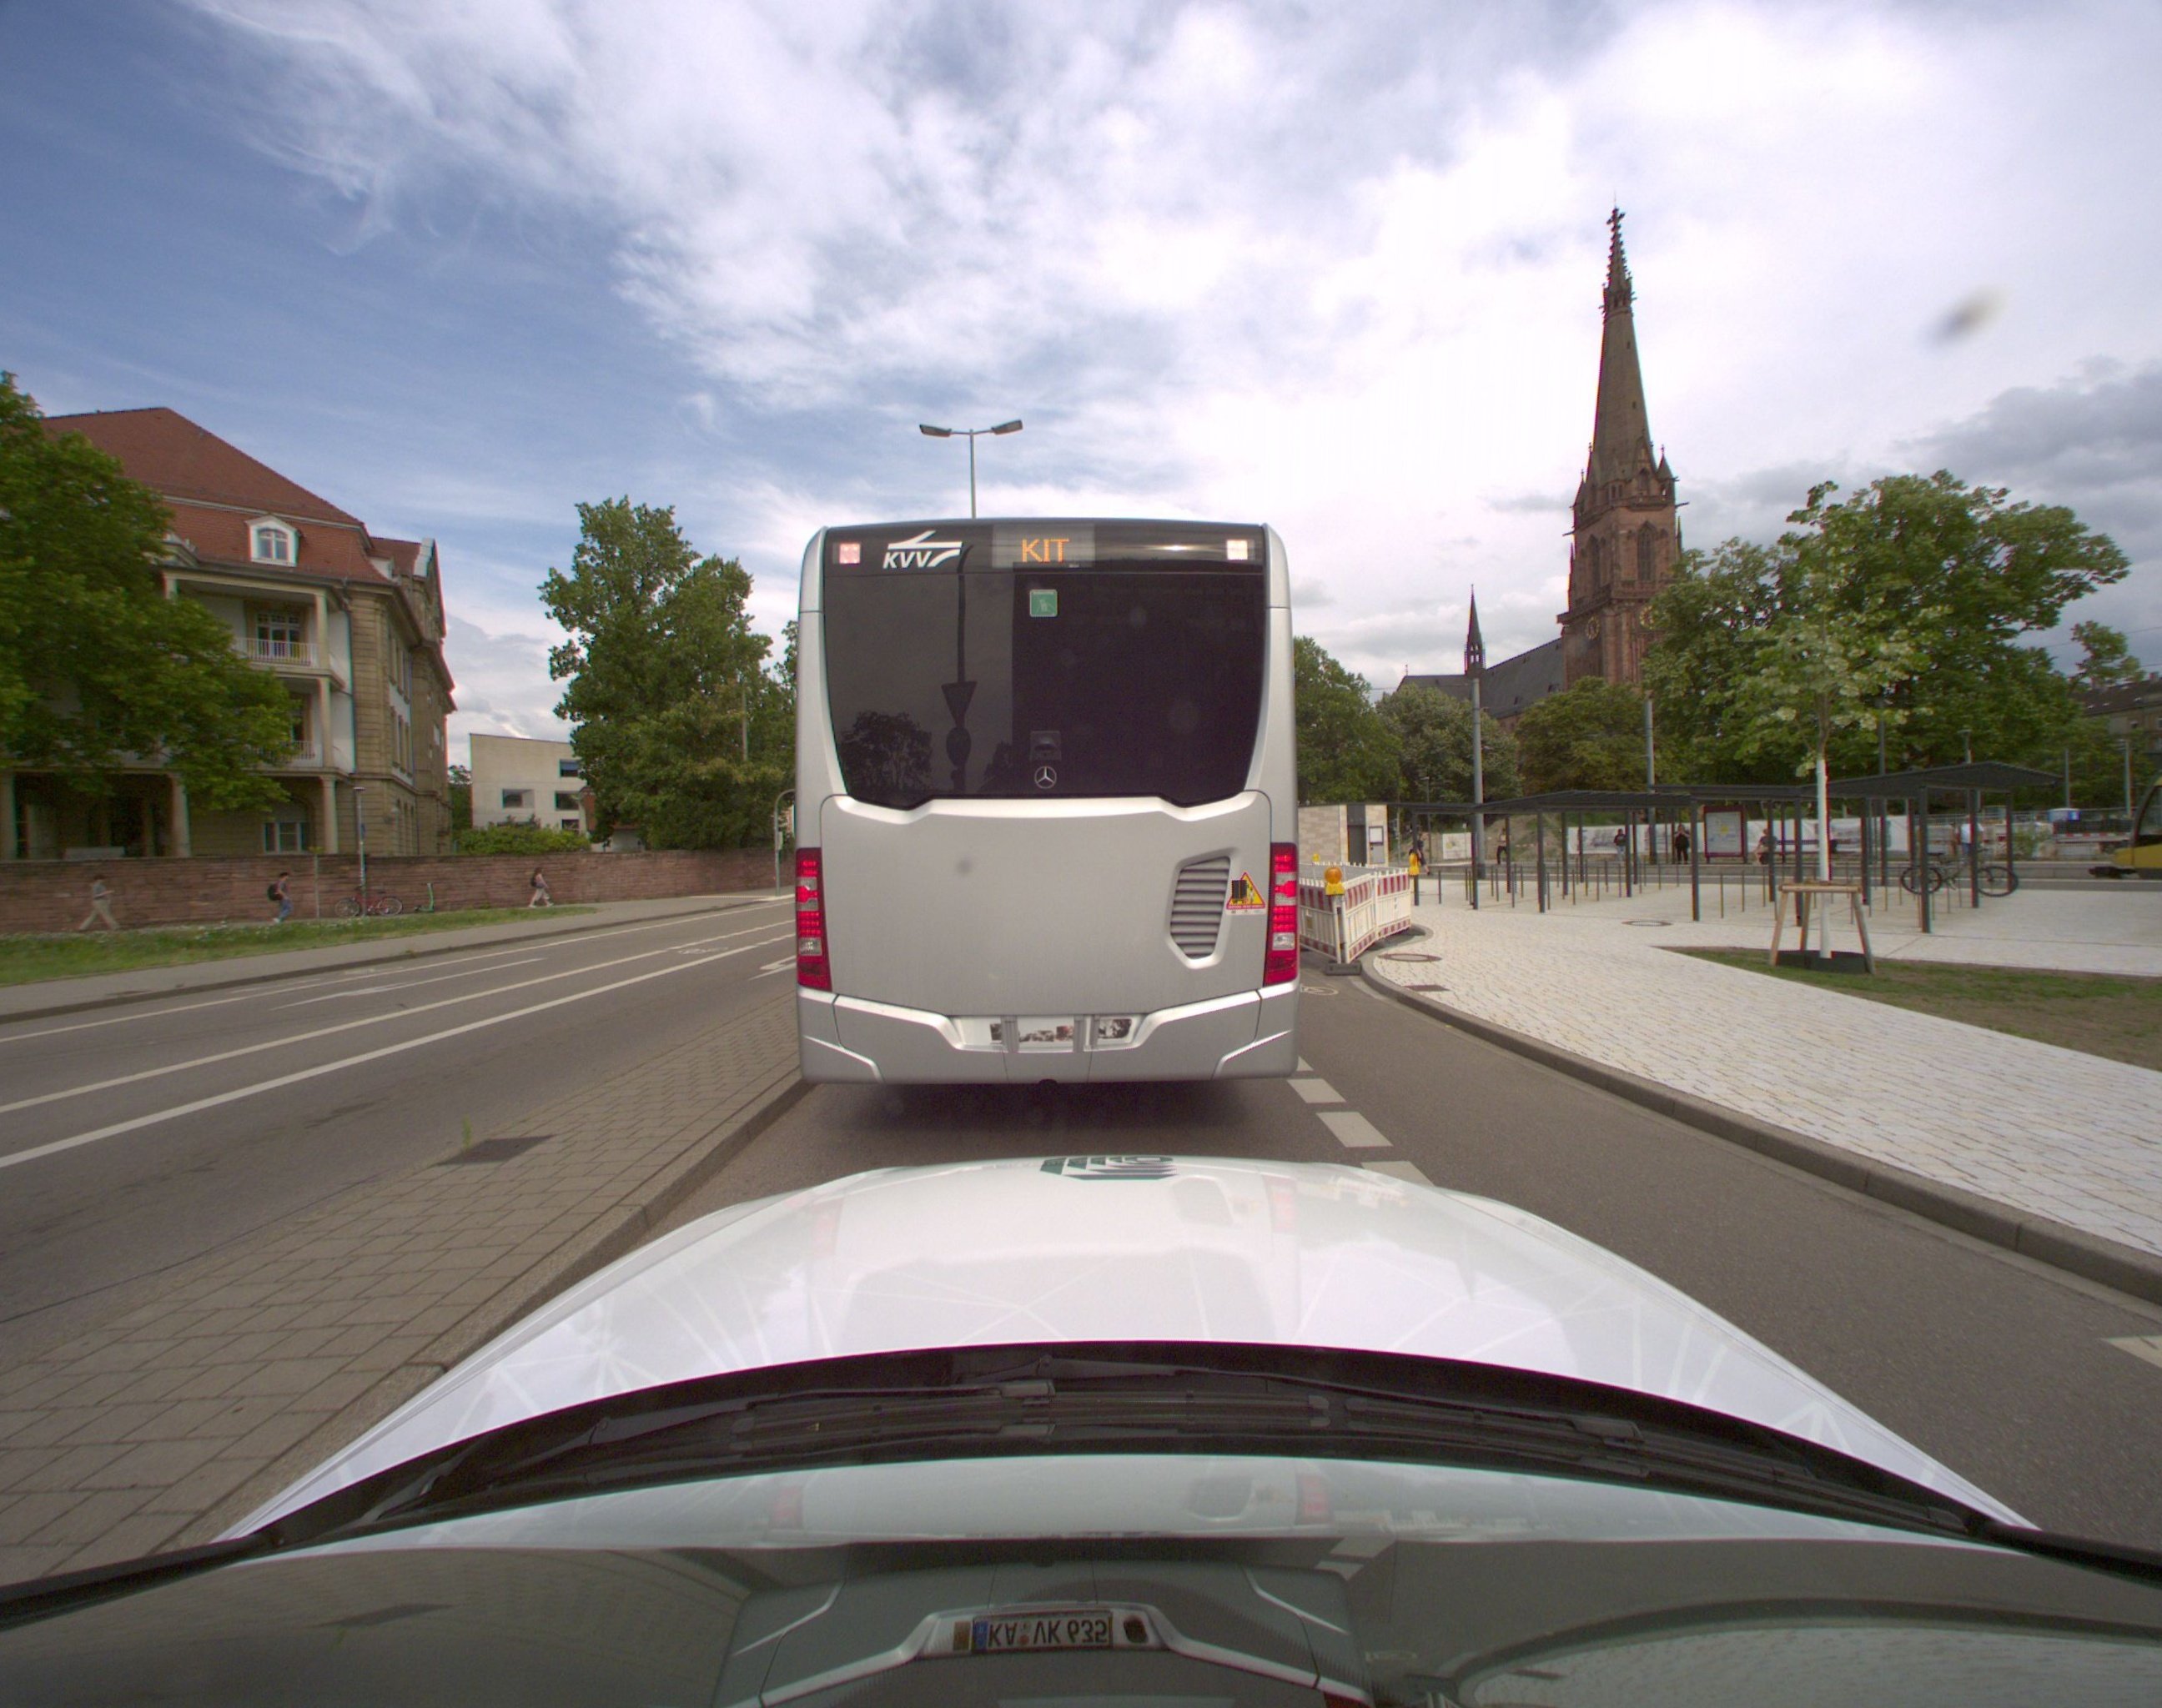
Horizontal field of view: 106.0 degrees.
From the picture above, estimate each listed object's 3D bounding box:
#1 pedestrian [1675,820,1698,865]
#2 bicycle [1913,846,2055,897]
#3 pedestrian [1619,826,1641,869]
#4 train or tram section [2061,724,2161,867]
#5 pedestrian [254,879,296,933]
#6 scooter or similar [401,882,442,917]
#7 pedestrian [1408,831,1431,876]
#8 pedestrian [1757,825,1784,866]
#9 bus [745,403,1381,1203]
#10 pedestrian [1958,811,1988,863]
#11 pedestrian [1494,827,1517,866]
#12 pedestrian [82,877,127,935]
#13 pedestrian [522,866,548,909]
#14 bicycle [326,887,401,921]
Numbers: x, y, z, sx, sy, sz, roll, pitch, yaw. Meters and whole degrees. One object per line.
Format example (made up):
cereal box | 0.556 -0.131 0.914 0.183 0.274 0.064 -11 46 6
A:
pedestrian | 24.462 -0.477 32.893 0.526 1.800 0.670 -4 3 -42
bicycle | 18.736 0.331 16.947 0.587 0.955 1.944 -4 3 -38
pedestrian | 23.237 -0.281 34.494 0.526 1.800 0.670 -4 3 -42
train or tram section | 27.784 -1.345 16.900 3.076 3.276 9.270 -3 3 -35
pedestrian | -26.277 1.678 26.540 0.570 1.654 0.787 0 3 33
scooter or similar | -24.548 1.676 30.324 0.519 1.139 1.513 -2 3 -13
pedestrian | 12.835 -0.021 30.901 0.534 1.654 0.623 -3 3 -36
pedestrian | 26.060 -0.326 30.771 0.694 1.485 0.670 -4 3 -42
bus | 0.050 -0.202 10.655 2.695 3.438 14.186 -1 0 1
pedestrian | 29.766 -0.570 27.177 0.714 1.677 0.670 -4 3 -42
pedestrian | 20.331 -0.354 39.006 0.816 1.800 0.755 -1 2 11
pedestrian | -29.665 1.554 24.742 0.570 1.654 0.787 0 3 38
pedestrian | -22.223 1.355 33.177 0.525 1.654 0.634 0 3 30
bicycle | -25.678 1.774 29.181 1.937 1.005 0.770 -4 3 -42
